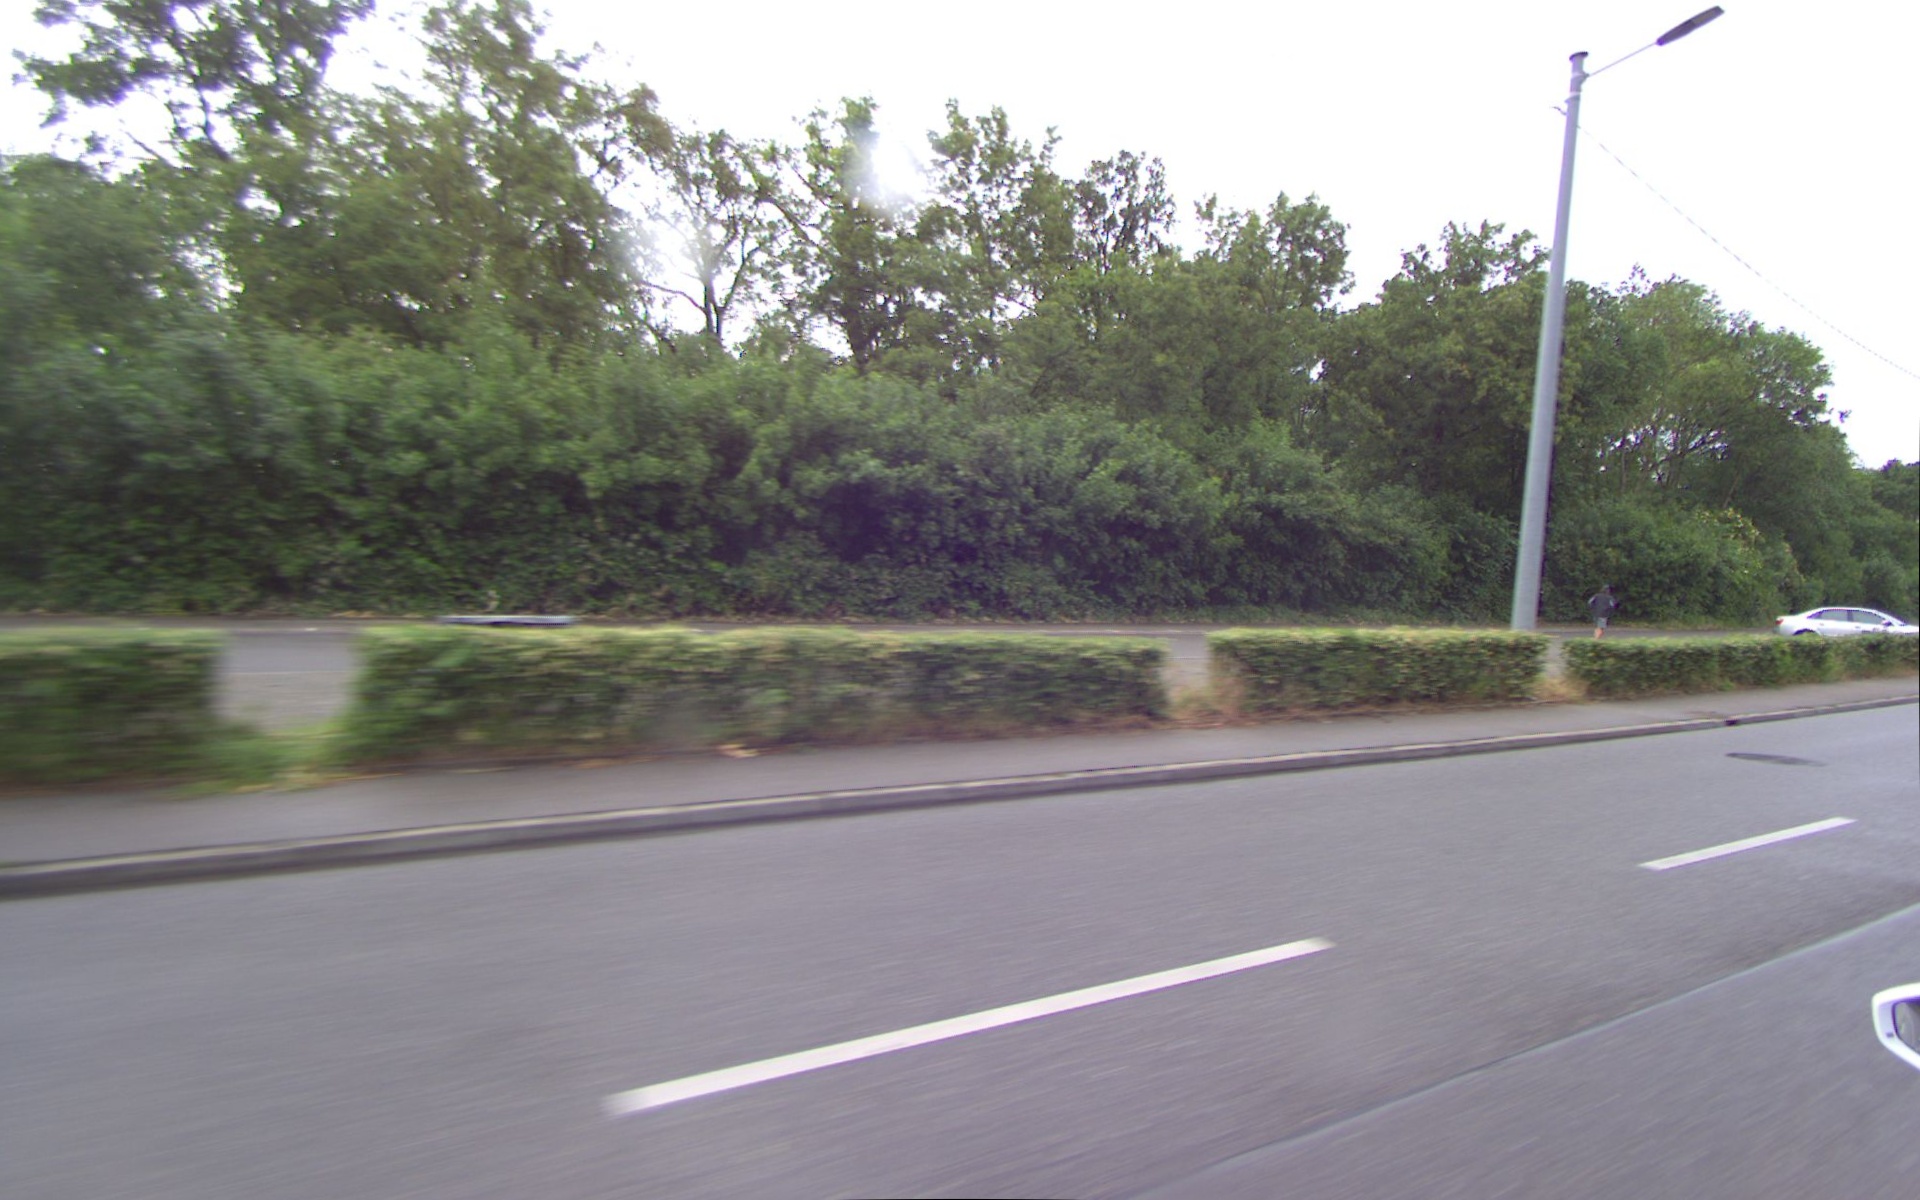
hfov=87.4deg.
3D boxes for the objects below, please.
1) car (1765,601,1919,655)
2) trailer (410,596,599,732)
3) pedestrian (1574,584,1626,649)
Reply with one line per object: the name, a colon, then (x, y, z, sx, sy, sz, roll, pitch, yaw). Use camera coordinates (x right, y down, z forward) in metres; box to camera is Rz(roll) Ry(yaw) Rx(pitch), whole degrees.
car: (29.471, 0.892, 32.911, 1.985, 1.526, 4.533, 1, 2, -42)
trailer: (-4.234, 0.531, 9.263, 1.320, 1.048, 1.790, 1, 1, -33)
pedestrian: (18.539, 0.463, 29.101, 1.122, 1.822, 0.813, 1, 2, -31)
